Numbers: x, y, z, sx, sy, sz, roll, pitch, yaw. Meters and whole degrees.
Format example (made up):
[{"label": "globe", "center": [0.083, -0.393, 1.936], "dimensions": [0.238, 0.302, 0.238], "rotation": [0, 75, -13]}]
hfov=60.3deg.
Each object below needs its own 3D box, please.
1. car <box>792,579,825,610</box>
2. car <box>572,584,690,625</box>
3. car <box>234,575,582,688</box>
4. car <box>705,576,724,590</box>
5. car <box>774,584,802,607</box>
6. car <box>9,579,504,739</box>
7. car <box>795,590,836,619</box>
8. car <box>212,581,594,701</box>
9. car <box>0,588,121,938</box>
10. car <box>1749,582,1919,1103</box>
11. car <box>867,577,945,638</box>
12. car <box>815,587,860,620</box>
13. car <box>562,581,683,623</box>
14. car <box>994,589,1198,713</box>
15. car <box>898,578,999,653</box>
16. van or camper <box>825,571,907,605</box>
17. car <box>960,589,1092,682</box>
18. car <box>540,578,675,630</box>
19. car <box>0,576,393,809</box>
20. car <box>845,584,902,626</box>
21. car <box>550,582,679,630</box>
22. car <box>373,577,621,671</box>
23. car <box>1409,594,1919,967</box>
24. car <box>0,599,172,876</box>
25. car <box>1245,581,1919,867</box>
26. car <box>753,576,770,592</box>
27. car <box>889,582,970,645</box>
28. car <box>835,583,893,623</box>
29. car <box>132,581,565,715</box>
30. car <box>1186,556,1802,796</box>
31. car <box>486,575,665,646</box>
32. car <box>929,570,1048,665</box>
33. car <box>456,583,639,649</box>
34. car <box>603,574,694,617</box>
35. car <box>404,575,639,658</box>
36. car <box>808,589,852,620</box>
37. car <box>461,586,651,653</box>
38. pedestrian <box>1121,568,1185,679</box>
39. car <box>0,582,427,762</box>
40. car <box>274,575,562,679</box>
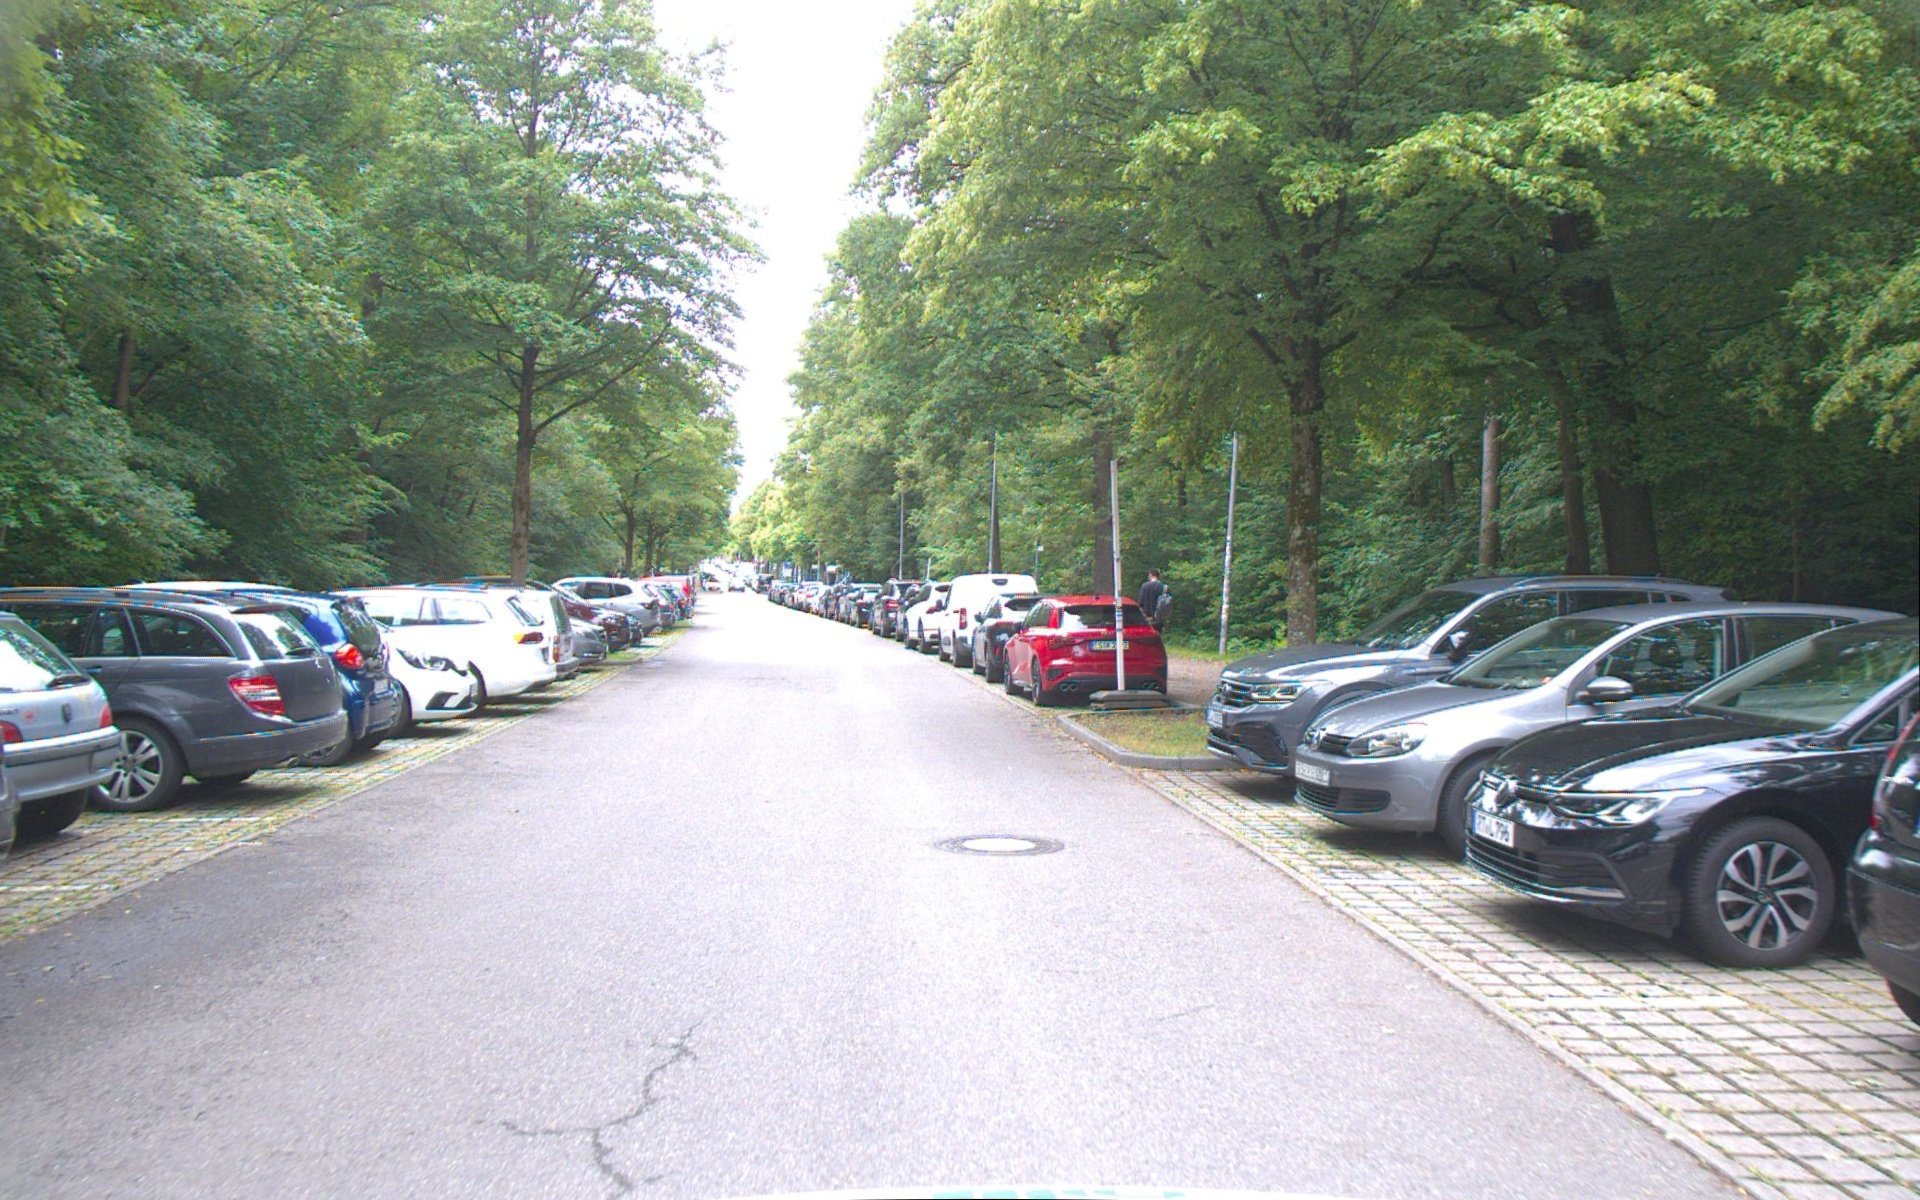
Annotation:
[{"label": "car", "center": [-8.897, -0.324, 96.690], "dimensions": [1.679, 1.758, 3.993], "rotation": [1, 0, -8]}, {"label": "car", "center": [-12.221, 0.171, 61.422], "dimensions": [4.222, 1.474, 1.751], "rotation": [0, 0, -14]}, {"label": "car", "center": [-7.902, 0.447, 24.090], "dimensions": [4.476, 1.512, 1.937], "rotation": [1, 0, -8]}, {"label": "car", "center": [-24.733, -1.727, 166.705], "dimensions": [1.706, 1.182, 3.407], "rotation": [2, 3, -7]}, {"label": "car", "center": [-12.070, -0.333, 115.937], "dimensions": [1.885, 1.547, 3.880], "rotation": [1, 0, -8]}, {"label": "car", "center": [-6.996, 0.573, 16.895], "dimensions": [4.284, 1.512, 1.888], "rotation": [0, 0, -9]}, {"label": "car", "center": [-7.963, 0.209, 91.051], "dimensions": [1.692, 1.520, 3.761], "rotation": [1, 0, -14]}, {"label": "car", "center": [-7.249, 0.523, 21.943], "dimensions": [4.474, 1.512, 1.867], "rotation": [0, 0, -6]}, {"label": "car", "center": [-6.150, 0.659, 6.814], "dimensions": [4.316, 1.449, 2.035], "rotation": [1, 0, -2]}, {"label": "car", "center": [4.740, 0.722, 5.107], "dimensions": [3.751, 1.558, 1.850], "rotation": [0, 0, -3]}, {"label": "car", "center": [-1.741, 0.187, 51.604], "dimensions": [1.854, 1.777, 4.939], "rotation": [1, 1, -8]}, {"label": "car", "center": [-5.837, 0.153, 78.419], "dimensions": [1.636, 1.470, 3.803], "rotation": [1, 0, -11]}, {"label": "car", "center": [-13.480, 0.070, 66.332], "dimensions": [4.645, 1.623, 1.955], "rotation": [1, 0, -10]}, {"label": "car", "center": [1.755, 0.621, 23.105], "dimensions": [1.955, 1.505, 4.965], "rotation": [1, 1, -6]}, {"label": "car", "center": [-0.343, 0.335, 40.122], "dimensions": [1.753, 1.691, 4.708], "rotation": [1, 1, -9]}, {"label": "van or camper", "center": [-8.935, -1.165, 157.113], "dimensions": [7.225, 2.938, 2.631], "rotation": [1, 3, -24]}, {"label": "car", "center": [1.058, 0.556, 28.611], "dimensions": [1.692, 1.447, 4.279], "rotation": [1, 1, -6]}, {"label": "car", "center": [-10.911, 0.122, 51.368], "dimensions": [4.016, 1.550, 1.924], "rotation": [1, 0, -11]}, {"label": "car", "center": [-6.496, 0.590, 11.819], "dimensions": [4.180, 1.512, 2.057], "rotation": [1, 0, -3]}, {"label": "car", "center": [-3.281, 0.182, 62.095], "dimensions": [1.607, 1.503, 4.141], "rotation": [1, 0, -10]}, {"label": "car", "center": [-11.237, 0.203, 54.066], "dimensions": [4.034, 1.506, 1.992], "rotation": [1, 0, -10]}, {"label": "car", "center": [-8.068, 0.406, 29.171], "dimensions": [3.958, 1.582, 1.916], "rotation": [1, 0, -9]}, {"label": "car", "center": [4.359, 0.762, 7.814], "dimensions": [3.907, 1.501, 1.951], "rotation": [1, 0, -3]}, {"label": "car", "center": [-6.743, 0.696, 9.387], "dimensions": [3.680, 1.411, 1.756], "rotation": [1, 0, -1]}, {"label": "car", "center": [4.000, 0.704, 10.437], "dimensions": [3.913, 1.579, 1.971], "rotation": [1, 0, -9]}, {"label": "car", "center": [-20.396, -1.654, 169.791], "dimensions": [1.598, 1.440, 3.404], "rotation": [2, 3, -10]}, {"label": "car", "center": [-0.898, 0.346, 45.950], "dimensions": [1.718, 1.635, 4.438], "rotation": [1, 0, -8]}, {"label": "car", "center": [-3.978, 0.110, 67.898], "dimensions": [1.941, 1.564, 4.612], "rotation": [1, 1, -9]}, {"label": "car", "center": [-7.063, 0.529, 19.607], "dimensions": [4.479, 1.472, 2.081], "rotation": [0, 0, -10]}, {"label": "car", "center": [4.052, 0.552, 13.021], "dimensions": [4.181, 1.695, 1.957], "rotation": [1, 0, -4]}, {"label": "car", "center": [-9.562, 0.262, 41.441], "dimensions": [4.144, 1.661, 2.026], "rotation": [1, 0, -7]}, {"label": "car", "center": [0.514, 0.315, 33.980], "dimensions": [1.712, 1.811, 4.544], "rotation": [1, 0, -8]}, {"label": "car", "center": [-9.711, 0.365, 39.149], "dimensions": [3.945, 1.490, 1.797], "rotation": [1, 0, -6]}, {"label": "car", "center": [-13.883, -0.200, 73.794], "dimensions": [3.916, 1.848, 2.109], "rotation": [1, 0, -12]}, {"label": "car", "center": [-8.950, 0.327, 34.102], "dimensions": [4.429, 1.612, 1.924], "rotation": [1, 0, -8]}, {"label": "car", "center": [-6.714, 0.210, 85.314], "dimensions": [1.902, 1.501, 3.983], "rotation": [1, 0, -10]}, {"label": "car", "center": [-8.920, 0.423, 36.809], "dimensions": [3.912, 1.388, 1.783], "rotation": [1, 0, -9]}, {"label": "pedestrian", "center": [3.147, 0.375, 27.042], "dimensions": [0.802, 1.756, 1.002], "rotation": [1, 0, -6]}, {"label": "car", "center": [-6.493, 0.594, 14.527], "dimensions": [3.157, 1.469, 1.678], "rotation": [1, 0, -7]}, {"label": "car", "center": [-8.564, 0.424, 26.495], "dimensions": [4.159, 1.577, 1.842], "rotation": [1, 0, -12]}]
